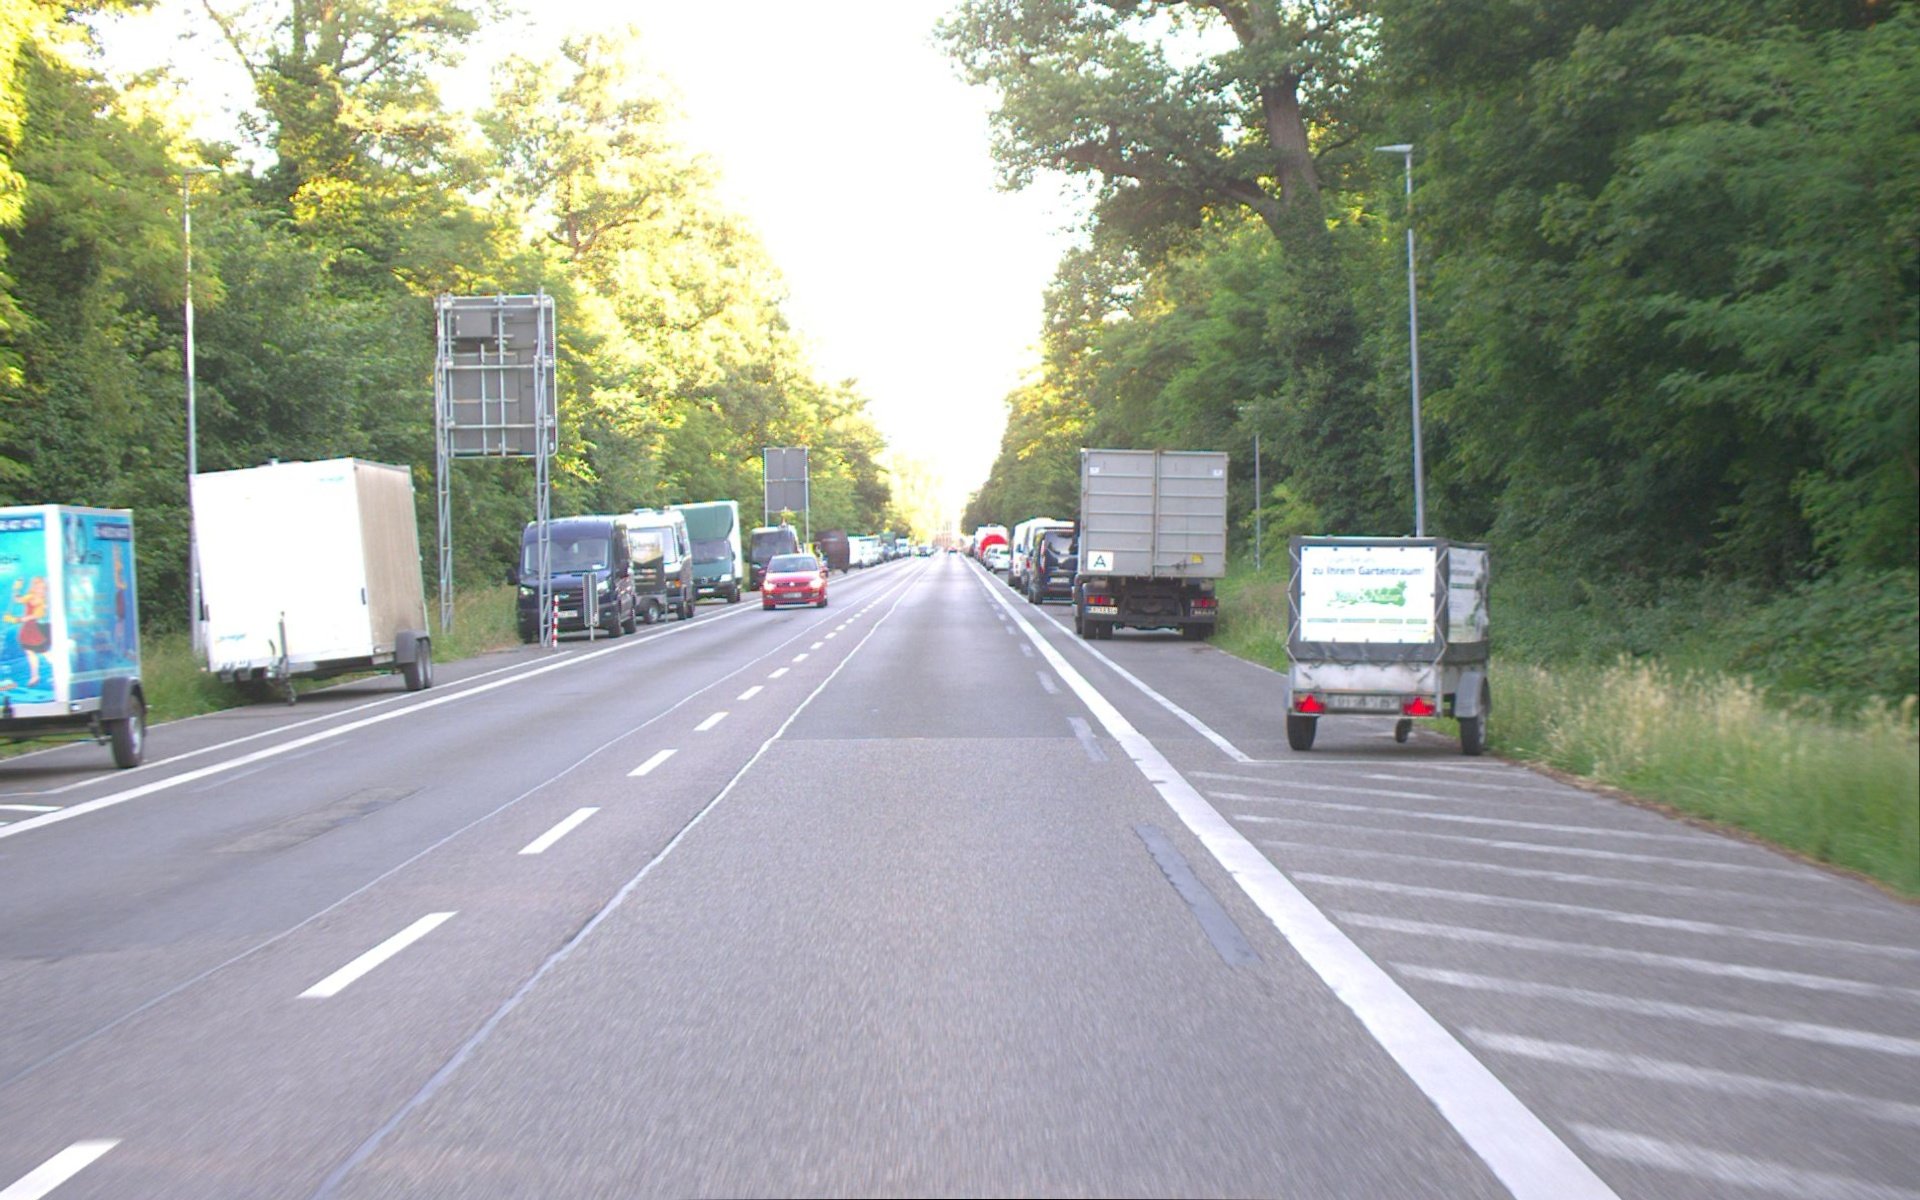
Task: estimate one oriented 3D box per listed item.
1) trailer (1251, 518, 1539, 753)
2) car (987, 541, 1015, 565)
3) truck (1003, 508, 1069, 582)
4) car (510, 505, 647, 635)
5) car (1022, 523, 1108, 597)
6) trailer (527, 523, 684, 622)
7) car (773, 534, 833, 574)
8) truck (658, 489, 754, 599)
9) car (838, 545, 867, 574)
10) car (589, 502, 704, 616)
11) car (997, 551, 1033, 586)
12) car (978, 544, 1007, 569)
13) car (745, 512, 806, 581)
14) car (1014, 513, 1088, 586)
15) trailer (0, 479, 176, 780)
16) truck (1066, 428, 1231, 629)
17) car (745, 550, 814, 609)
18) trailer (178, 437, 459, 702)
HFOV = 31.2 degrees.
[{"bbox_3d":[3.452,0.226,26.771,1.457,1.656,3.774,-2,1,19],"label":"trailer"},{"bbox_3d":[2.282,-2.619,190.209,1.427,1.218,3.412,-4,1,0],"label":"car"},{"bbox_3d":[2.741,-1.986,125.315,2.141,2.650,4.300,0,1,-2],"label":"truck"},{"bbox_3d":[-7.594,-0.628,68.962,1.993,2.356,5.766,-4,1,0],"label":"car"},{"bbox_3d":[2.812,-1.095,92.969,1.993,1.948,4.300,0,1,-2],"label":"car"},{"bbox_3d":[-8.198,-0.663,79.865,1.965,2.147,3.926,-2,1,21],"label":"trailer"},{"bbox_3d":[-8.002,-2.363,175.304,1.701,2.007,3.997,1,1,18],"label":"car"},{"bbox_3d":[-8.143,-1.821,110.845,2.504,3.317,6.842,-2,1,0],"label":"truck"},{"bbox_3d":[-7.906,-2.999,253.157,1.993,2.007,4.000,-2,0,-3],"label":"car"},{"bbox_3d":[-7.745,-1.036,85.386,2.249,2.638,5.721,-2,1,0],"label":"car"},{"bbox_3d":[2.090,-1.217,131.577,1.147,1.247,2.754,-3,1,-2],"label":"car"},{"bbox_3d":[1.953,-2.607,207.108,1.645,1.481,4.000,0,1,0],"label":"car"},{"bbox_3d":[-7.786,-2.263,145.601,2.186,2.779,5.334,-2,1,0],"label":"car"},{"bbox_3d":[2.947,-1.644,112.228,2.141,2.306,4.300,0,1,-2],"label":"car"},{"bbox_3d":[-7.528,0.204,26.922,1.817,2.160,4.143,-2,1,-1],"label":"trailer"},{"bbox_3d":[3.152,-1.205,59.158,2.589,3.244,7.220,0,1,1],"label":"truck"},{"bbox_3d":[-4.875,-0.574,93.203,1.682,1.481,4.038,-2,1,-1],"label":"car"},{"bbox_3d":[-7.815,-0.401,42.528,2.326,2.914,5.627,-4,1,-1],"label":"trailer"}]
